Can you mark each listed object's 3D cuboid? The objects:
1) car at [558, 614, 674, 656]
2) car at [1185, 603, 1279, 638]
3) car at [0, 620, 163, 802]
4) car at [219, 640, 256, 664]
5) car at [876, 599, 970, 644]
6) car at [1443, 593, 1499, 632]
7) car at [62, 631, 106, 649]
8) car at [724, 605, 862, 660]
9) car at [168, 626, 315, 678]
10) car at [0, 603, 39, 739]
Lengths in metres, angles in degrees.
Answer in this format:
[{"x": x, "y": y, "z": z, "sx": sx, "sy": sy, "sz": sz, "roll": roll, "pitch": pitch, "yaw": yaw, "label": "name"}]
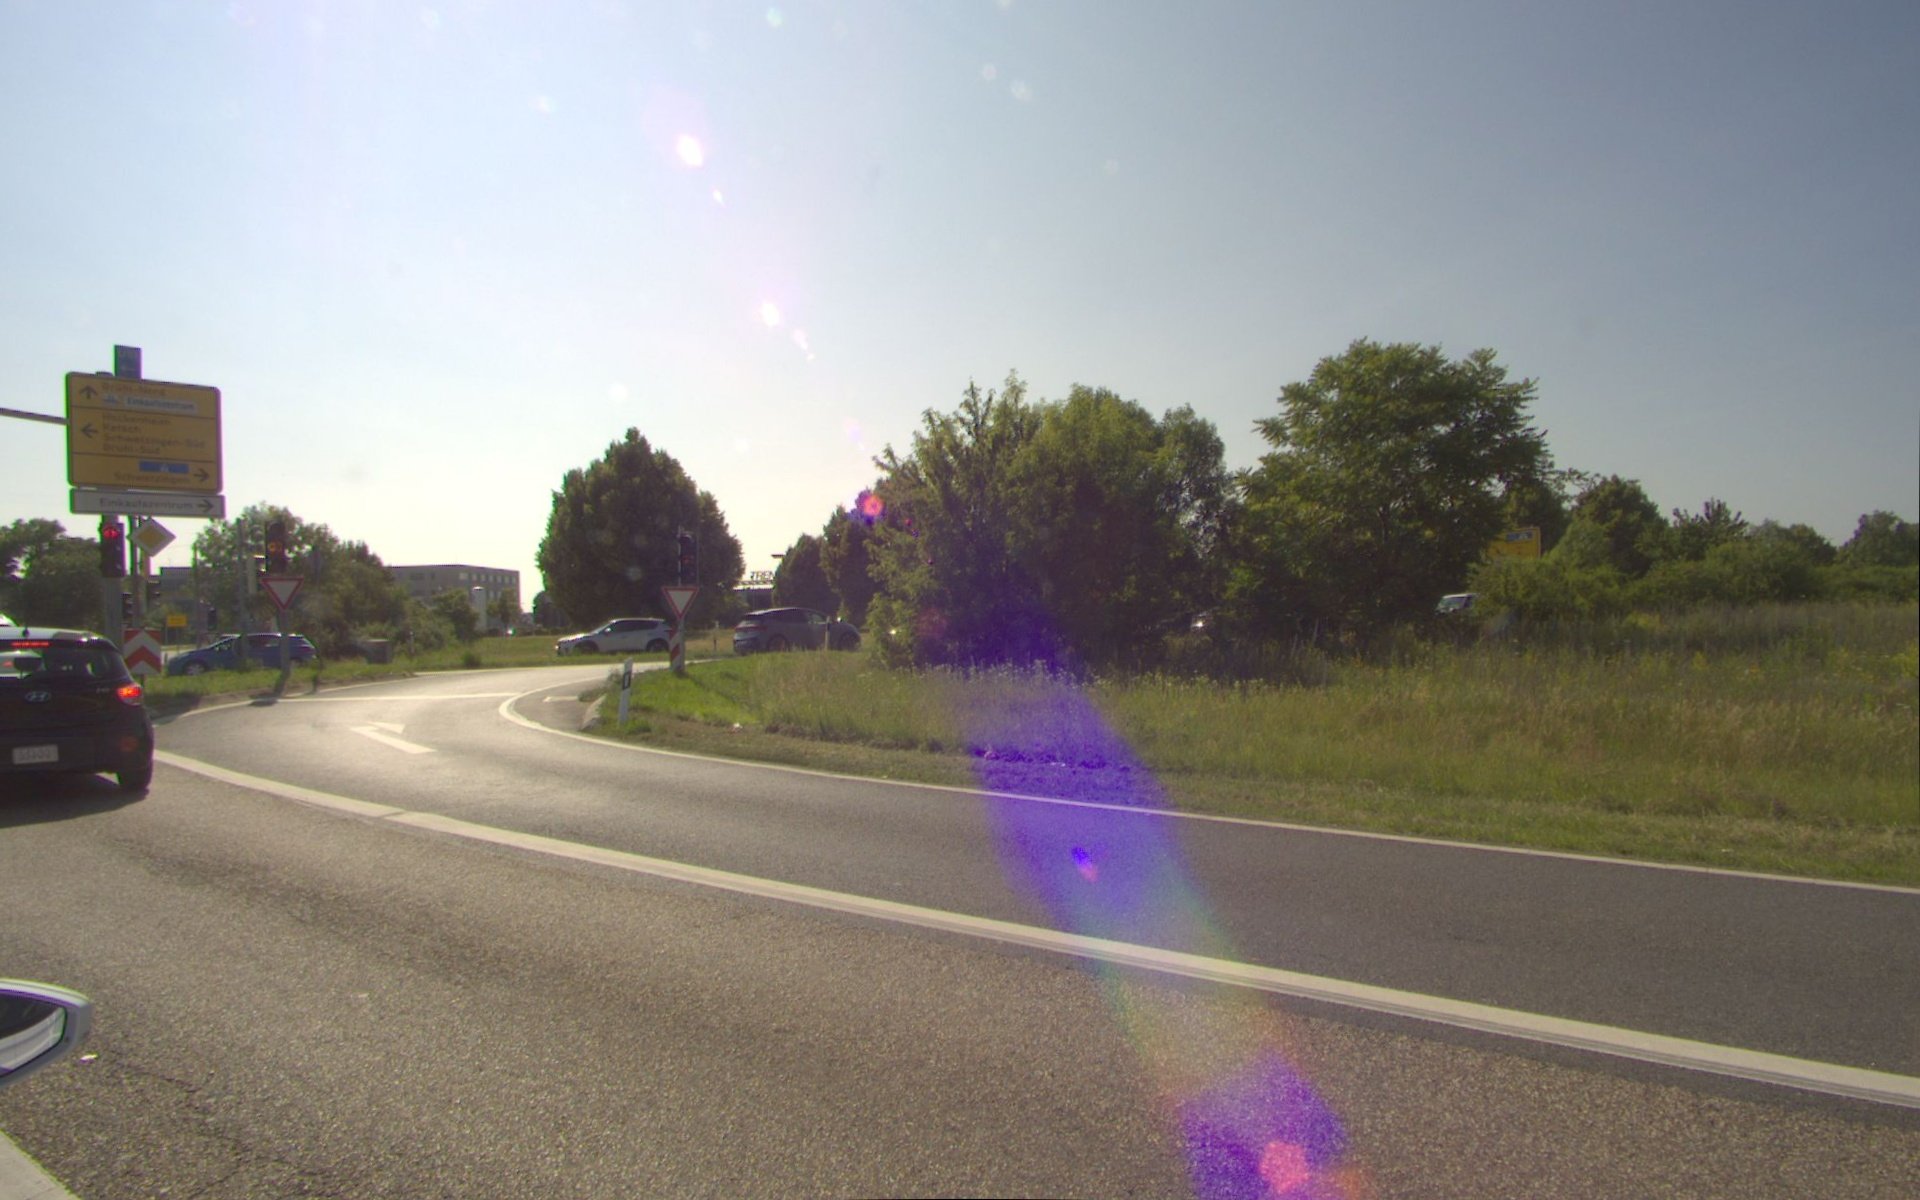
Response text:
[{"x": -13.439, "y": 1.340, "z": 39.133, "sx": 3.981, "sy": 1.539, "sz": 1.797, "roll": 0, "pitch": -1, "yaw": -32, "label": "car"}, {"x": 11.746, "y": 0.856, "z": 43.152, "sx": 3.942, "sy": 1.404, "sz": 1.638, "roll": 0, "pitch": 0, "yaw": -30, "label": "car"}, {"x": -8.880, "y": 0.934, "z": 9.340, "sx": 3.255, "sy": 1.467, "sz": 1.626, "roll": -1, "pitch": -2, "yaw": 39, "label": "car"}, {"x": -51.733, "y": 3.711, "z": 71.713, "sx": 1.857, "sy": 1.694, "sz": 3.749, "roll": 1, "pitch": -2, "yaw": -32, "label": "car"}, {"x": -1.684, "y": 0.978, "z": 45.784, "sx": 3.960, "sy": 1.978, "sz": 1.689, "roll": 0, "pitch": -1, "yaw": -28, "label": "car"}, {"x": 34.132, "y": 0.862, "z": 66.874, "sx": 3.851, "sy": 2.467, "sz": 1.455, "roll": 1, "pitch": -2, "yaw": -30, "label": "car"}, {"x": -77.840, "y": 3.584, "z": 89.028, "sx": 1.688, "sy": 1.568, "sz": 3.604, "roll": 1, "pitch": -2, "yaw": -19, "label": "car"}, {"x": -5.284, "y": 1.005, "z": 32.057, "sx": 4.057, "sy": 1.537, "sz": 1.762, "roll": -2, "pitch": 0, "yaw": -43, "label": "car"}, {"x": -23.571, "y": 1.676, "z": 33.026, "sx": 3.829, "sy": 1.539, "sz": 1.796, "roll": 0, "pitch": -1, "yaw": -34, "label": "car"}, {"x": -13.665, "y": 0.914, "z": 13.286, "sx": 3.705, "sy": 1.698, "sz": 1.626, "roll": -2, "pitch": -2, "yaw": 39, "label": "car"}]
